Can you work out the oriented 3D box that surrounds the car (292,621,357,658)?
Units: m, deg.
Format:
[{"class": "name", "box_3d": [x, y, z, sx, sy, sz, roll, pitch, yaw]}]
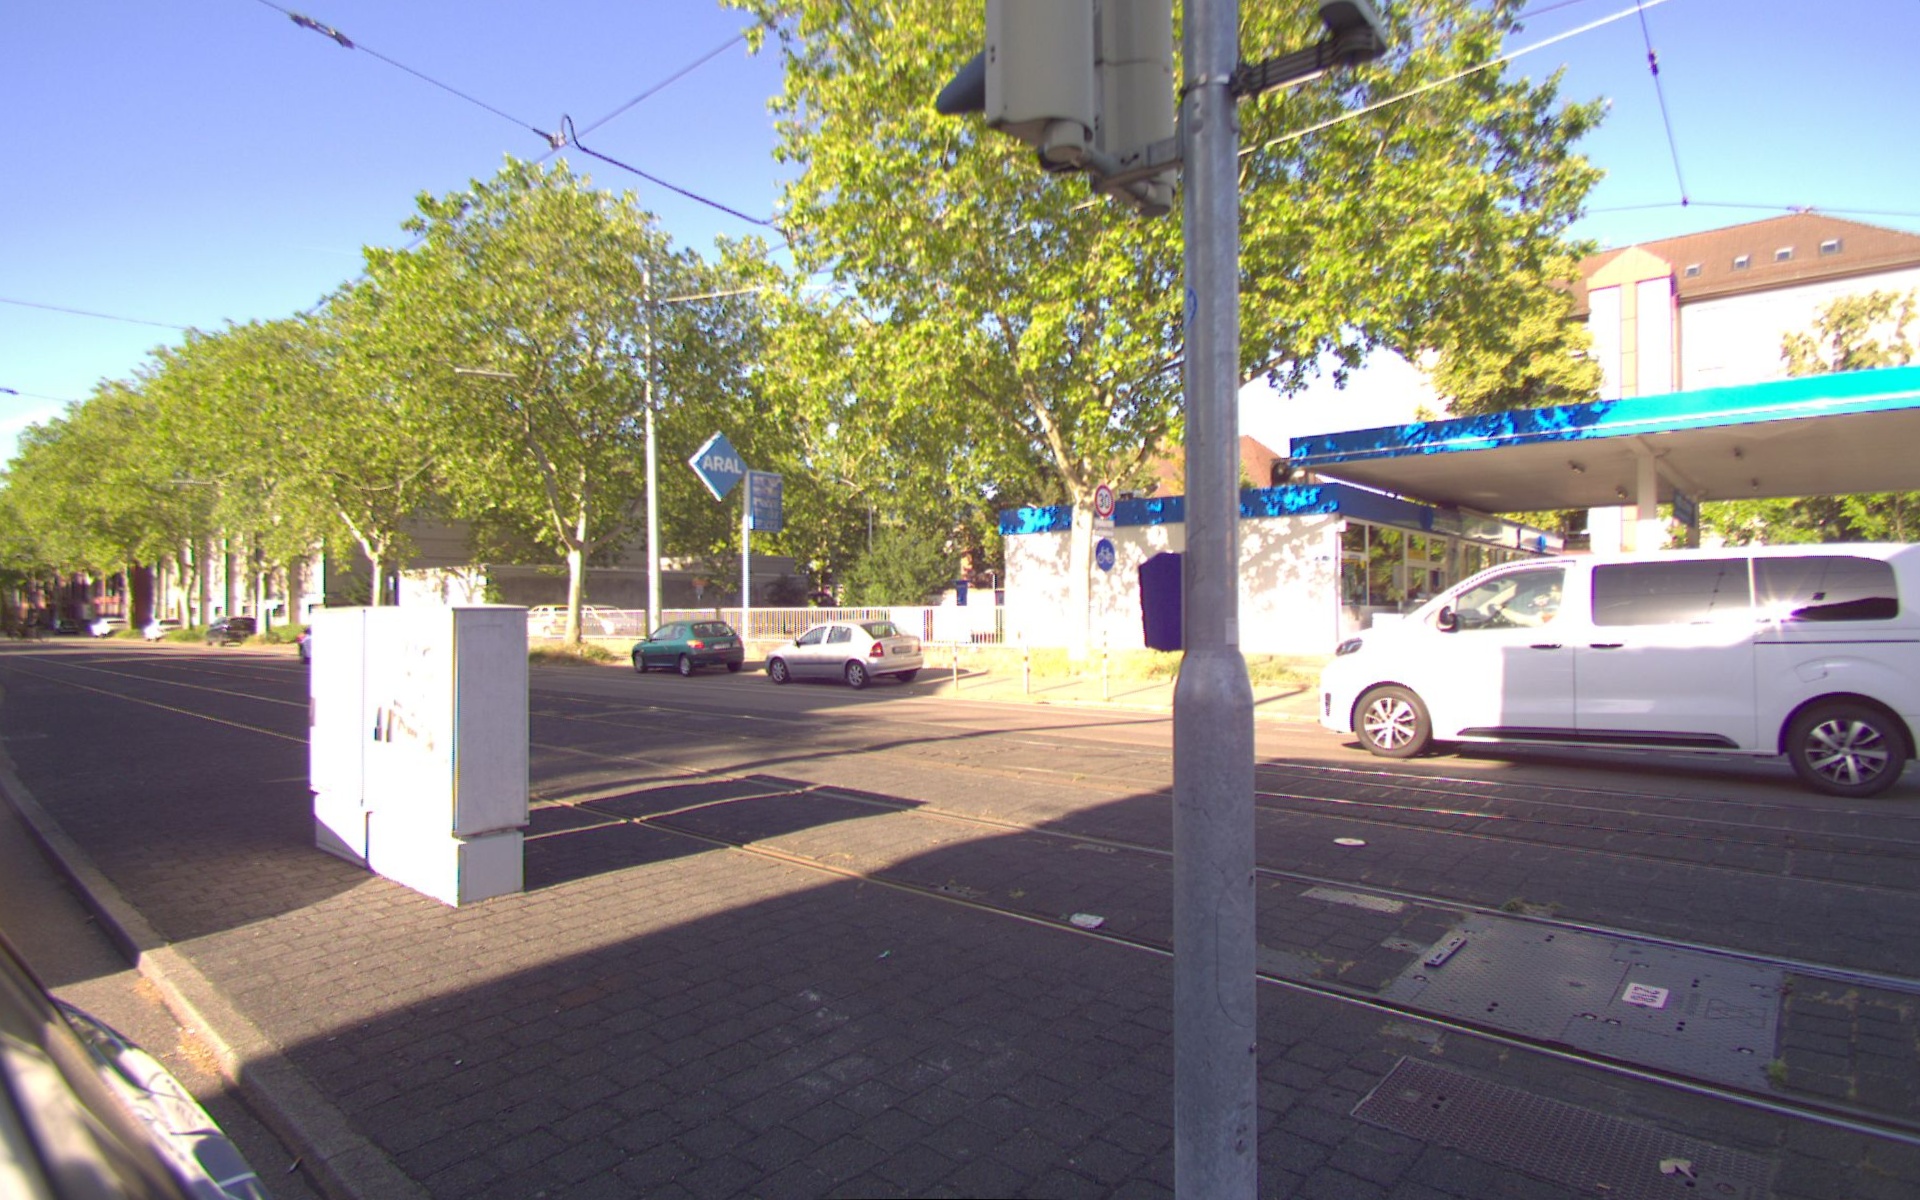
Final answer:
[{"class": "car", "box_3d": [-28.965, 1.781, 46.131, 3.377, 1.506, 1.639, -1, 2, 43]}]

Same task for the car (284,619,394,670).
[{"class": "car", "box_3d": [-19.189, 1.356, 31.216, 3.933, 1.446, 1.720, -1, -4, 41]}]

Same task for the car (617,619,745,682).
[{"class": "car", "box_3d": [-7.474, 1.295, 26.990, 3.606, 1.455, 1.598, -1, 2, 43]}]

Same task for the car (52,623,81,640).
[{"class": "car", "box_3d": [-85.038, 3.004, 96.330, 3.731, 1.471, 1.639, -1, 2, 43]}]

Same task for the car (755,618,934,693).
[{"class": "car", "box_3d": [-2.632, 1.185, 22.596, 3.987, 1.376, 1.666, -2, 3, 41]}]

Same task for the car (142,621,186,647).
[{"class": "car", "box_3d": [-53.703, 2.280, 68.243, 3.878, 1.552, 1.731, -1, 2, 43]}]

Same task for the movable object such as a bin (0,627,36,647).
[{"class": "movable object such as a bin", "box_3d": [-56.215, 2.213, 60.014, 1.809, 1.111, 1.179, -1, 0, 0]}]

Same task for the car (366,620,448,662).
[{"class": "car", "box_3d": [-21.818, 1.563, 39.879, 3.769, 1.455, 1.701, -1, 2, 43]}]

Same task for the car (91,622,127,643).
[{"class": "car", "box_3d": [-66.791, 2.495, 79.410, 3.731, 1.471, 1.639, -1, 2, 43]}]

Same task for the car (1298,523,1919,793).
[{"class": "car", "box_3d": [5.919, 0.490, 8.978, 5.214, 1.868, 1.972, -1, -4, 42]}]

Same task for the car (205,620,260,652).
[{"class": "car", "box_3d": [-40.671, 1.977, 56.533, 3.878, 1.603, 1.731, -1, 2, 43]}]

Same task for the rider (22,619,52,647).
[{"class": "rider", "box_3d": [-54.760, 1.948, 60.060, 1.091, 1.660, 0.726, -1, 0, 0]}]
